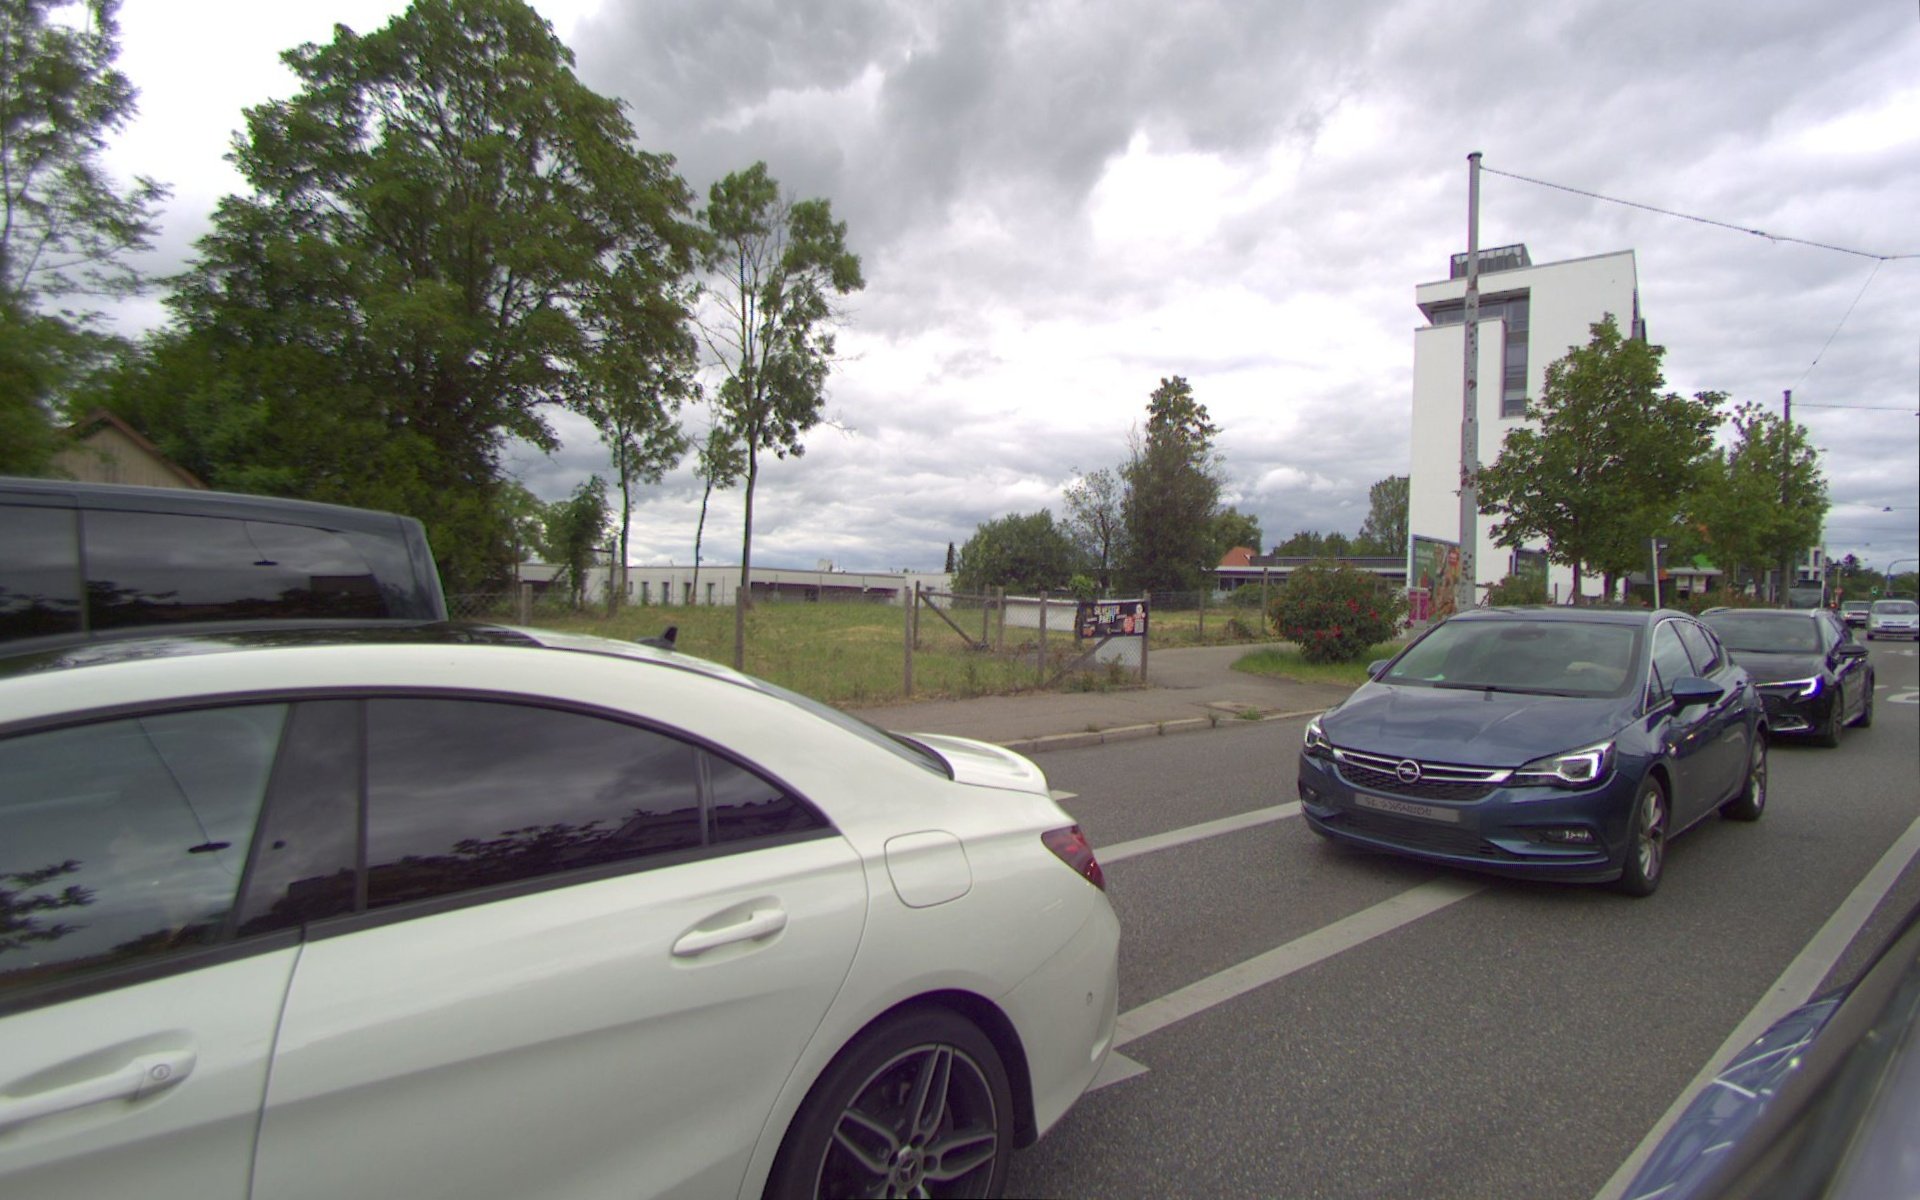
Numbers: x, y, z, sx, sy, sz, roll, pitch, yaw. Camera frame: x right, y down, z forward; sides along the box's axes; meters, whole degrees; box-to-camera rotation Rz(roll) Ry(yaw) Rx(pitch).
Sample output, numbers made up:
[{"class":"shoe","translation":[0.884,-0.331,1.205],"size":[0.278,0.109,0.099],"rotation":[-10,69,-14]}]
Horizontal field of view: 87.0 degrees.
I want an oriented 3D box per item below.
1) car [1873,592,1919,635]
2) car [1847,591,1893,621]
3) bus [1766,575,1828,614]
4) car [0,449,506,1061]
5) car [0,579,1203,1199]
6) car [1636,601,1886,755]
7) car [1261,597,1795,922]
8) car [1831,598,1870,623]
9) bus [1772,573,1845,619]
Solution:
[{"class":"car","translation":[37.784,0.511,40.384],"size":[1.844,1.637,3.728],"rotation":[-1,-1,40]},{"class":"car","translation":[59.861,0.370,66.647],"size":[1.842,1.910,4.081],"rotation":[-1,-1,37]},{"class":"bus","translation":[61.415,-0.424,74.467],"size":[2.952,2.664,12.751],"rotation":[0,1,37]},{"class":"car","translation":[-4.191,0.477,3.276],"size":[4.627,1.863,1.952],"rotation":[0,-1,-41]},{"class":"car","translation":[-1.547,0.700,1.811],"size":[4.300,1.451,1.652],"rotation":[0,1,-41]},{"class":"car","translation":[9.362,0.755,11.722],"size":[3.854,1.475,1.663],"rotation":[0,0,-42]},{"class":"car","translation":[3.801,0.697,6.478],"size":[3.931,1.428,1.825],"rotation":[0,0,-42]},{"class":"car","translation":[69.749,0.772,79.316],"size":[1.990,1.844,3.945],"rotation":[2,2,38]},{"class":"bus","translation":[53.947,-0.292,64.568],"size":[2.952,2.664,11.986],"rotation":[0,1,37]}]
